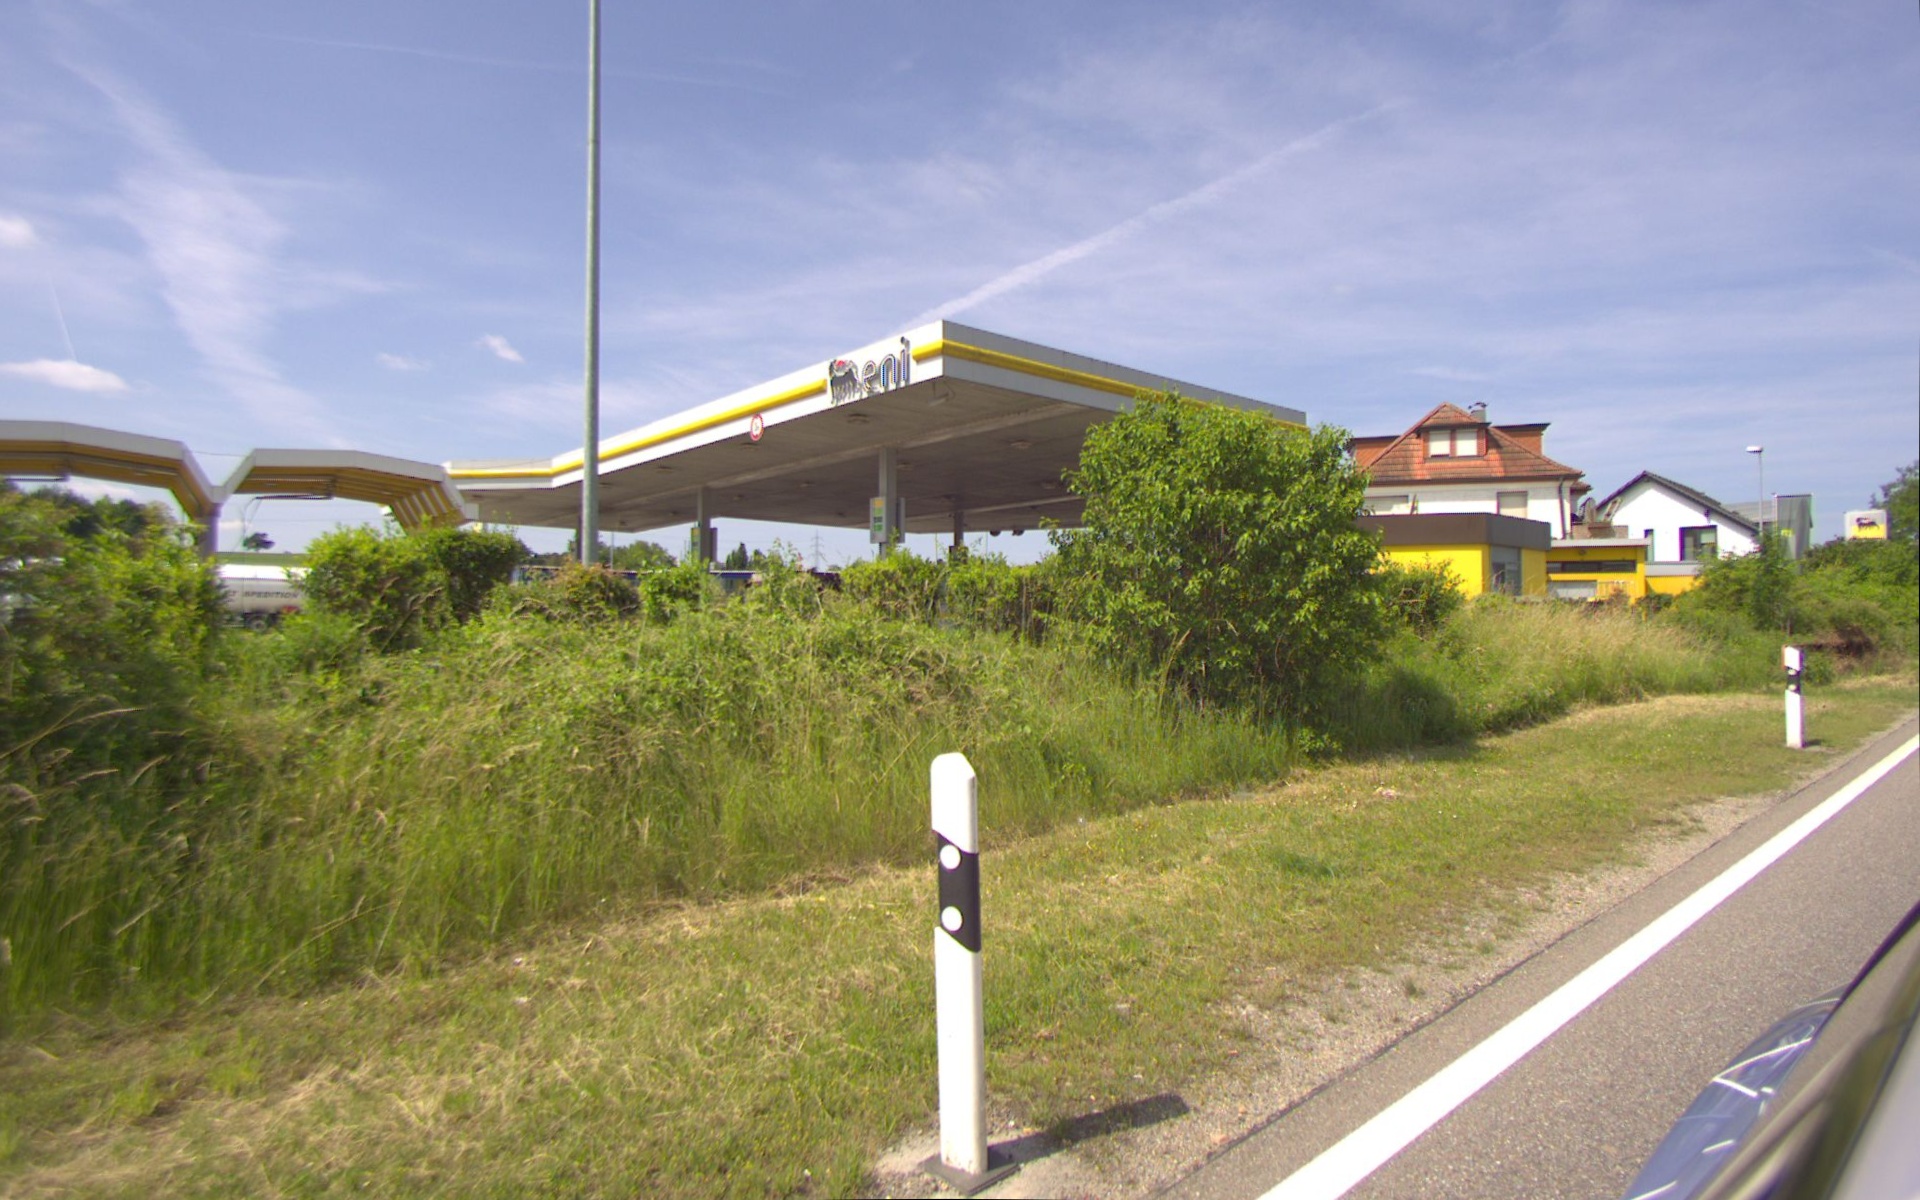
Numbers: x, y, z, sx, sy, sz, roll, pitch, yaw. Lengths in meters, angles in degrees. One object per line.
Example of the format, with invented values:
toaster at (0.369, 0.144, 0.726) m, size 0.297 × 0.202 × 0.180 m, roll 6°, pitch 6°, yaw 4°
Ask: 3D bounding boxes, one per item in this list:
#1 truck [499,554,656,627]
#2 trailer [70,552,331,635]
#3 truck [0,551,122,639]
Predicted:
truck at (-20.415, -0.506, 54.169) m, size 7.446 × 3.672 × 3.011 m, roll -1°, pitch 0°, yaw -32°
trailer at (-37.843, -0.363, 50.912) m, size 10.349 × 3.849 × 1.997 m, roll -1°, pitch 0°, yaw -41°
truck at (-41.701, -0.251, 46.530) m, size 1.974 × 3.810 × 4.590 m, roll 0°, pitch 0°, yaw 19°
